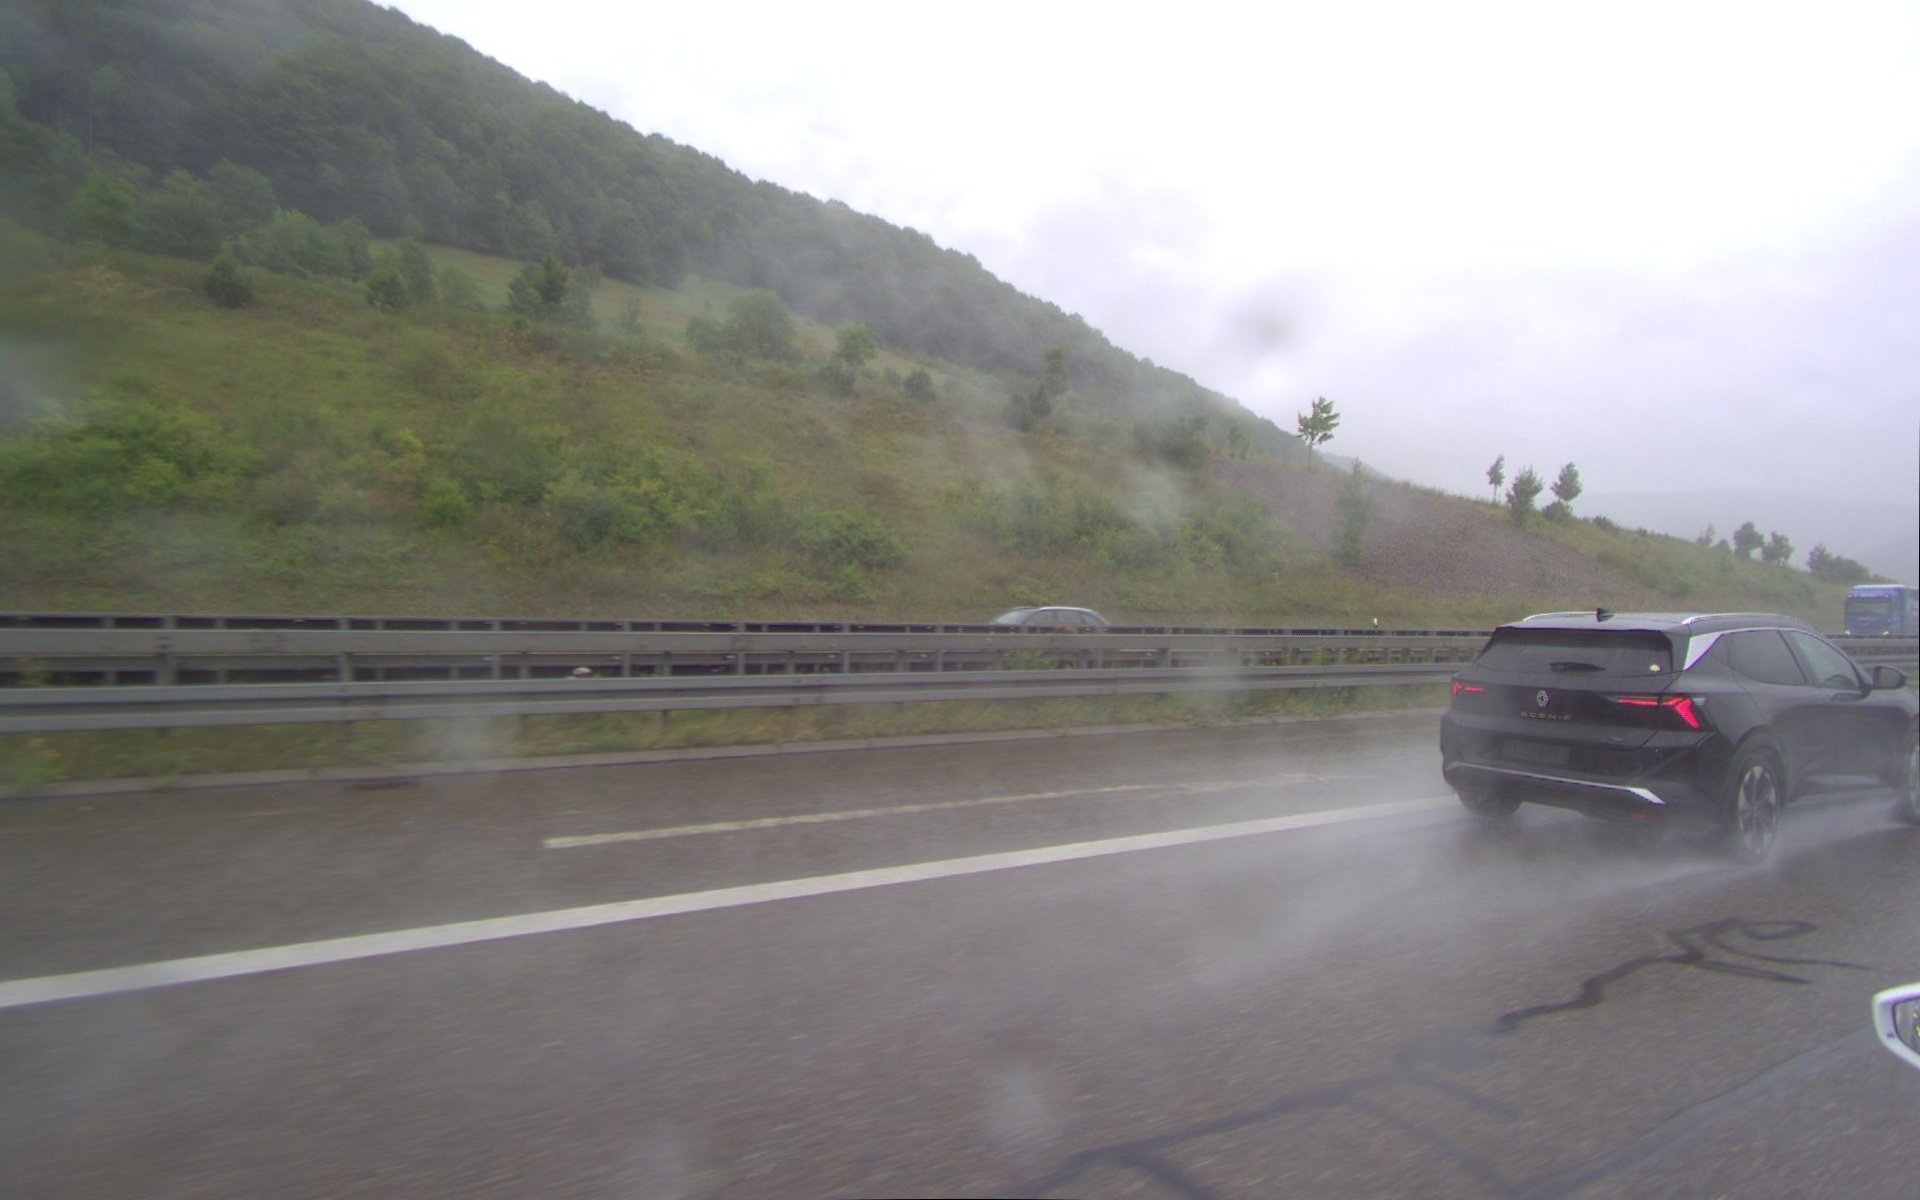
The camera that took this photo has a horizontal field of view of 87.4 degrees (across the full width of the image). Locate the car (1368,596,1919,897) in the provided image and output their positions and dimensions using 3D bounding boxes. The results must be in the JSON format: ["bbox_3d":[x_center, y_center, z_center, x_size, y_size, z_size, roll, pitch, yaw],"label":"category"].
[{"bbox_3d":[5.610,0.817,7.535,4.731,1.536,2.393,2,0,-32],"label":"car"}]

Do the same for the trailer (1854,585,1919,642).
[{"bbox_3d":[67.601,1.030,71.586,13.111,3.730,2.795,1,0,-35],"label":"trailer"}]

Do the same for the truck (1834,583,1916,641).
[{"bbox_3d":[61.195,0.821,67.138,6.144,3.732,2.762,1,0,-35],"label":"truck"}]
